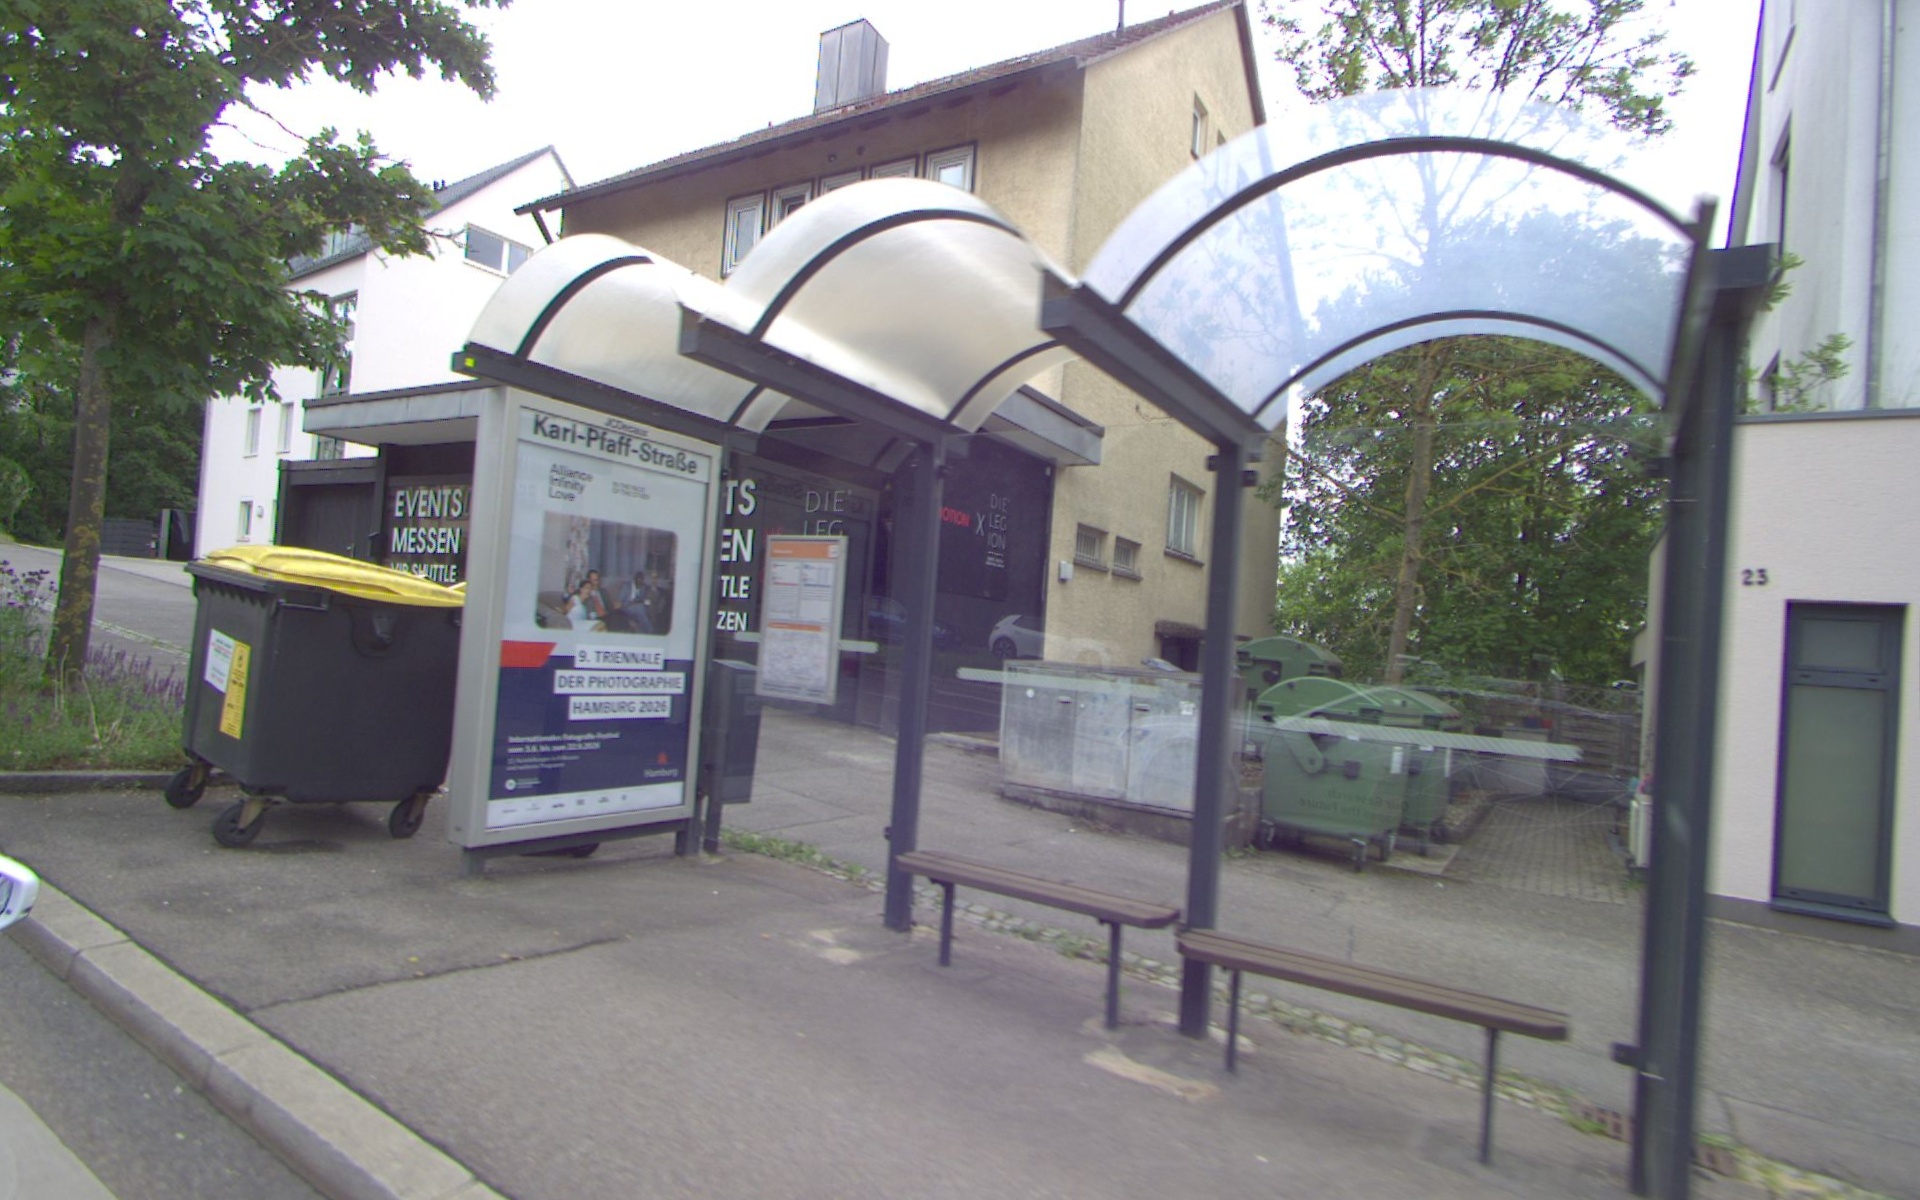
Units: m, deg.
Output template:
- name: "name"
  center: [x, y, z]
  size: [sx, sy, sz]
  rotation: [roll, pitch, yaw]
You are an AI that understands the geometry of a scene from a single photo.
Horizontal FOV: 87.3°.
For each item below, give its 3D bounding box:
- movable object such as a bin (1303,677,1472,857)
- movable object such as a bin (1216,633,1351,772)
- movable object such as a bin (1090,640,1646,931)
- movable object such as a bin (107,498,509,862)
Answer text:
- name: "movable object such as a bin"
  center: [4.108, 1.540, 9.624]
  size: [1.109, 1.426, 1.341]
  rotation: [7, -1, 34]
- name: "movable object such as a bin"
  center: [3.870, 1.202, 11.983]
  size: [1.053, 1.426, 1.341]
  rotation: [7, -1, 34]
- name: "movable object such as a bin"
  center: [3.371, 1.362, 8.575]
  size: [3.936, 1.469, 1.890]
  rotation: [7, -1, 35]
- name: "movable object such as a bin"
  center: [-3.341, 0.347, 5.168]
  size: [1.512, 1.499, 1.087]
  rotation: [7, 0, 33]
